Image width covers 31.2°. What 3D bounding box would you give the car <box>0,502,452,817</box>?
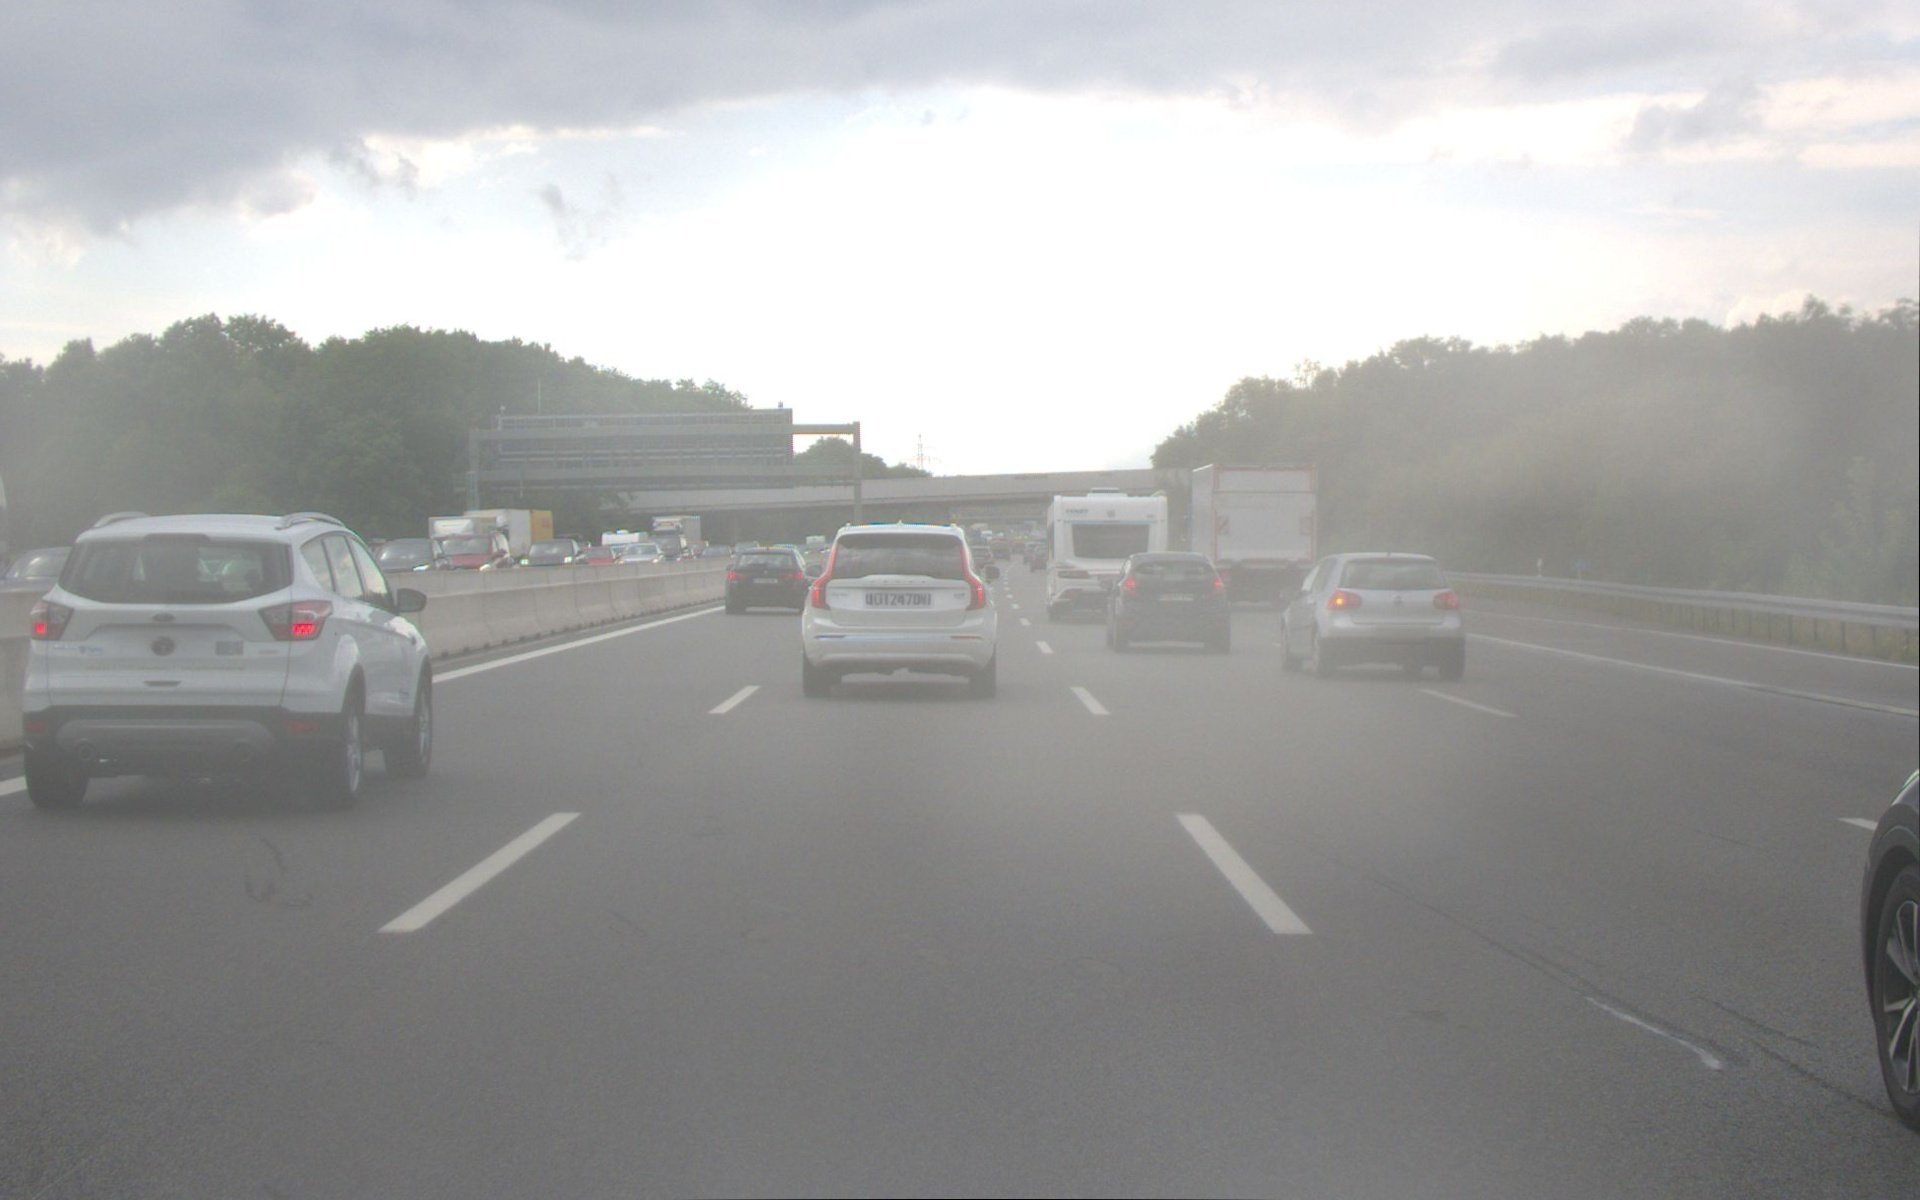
[{"bbox_3d":[-4.298,0.264,20.860,1.815,1.684,4.852,0,1,-1],"label":"car"}]

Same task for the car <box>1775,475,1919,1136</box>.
[{"bbox_3d":[3.244,0.520,7.477,1.781,1.607,4.598,0,1,-1],"label":"car"}]

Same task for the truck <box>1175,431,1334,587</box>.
[{"bbox_3d":[7.317,-2.242,86.676,3.133,3.697,9.848,0,1,0],"label":"truck"}]

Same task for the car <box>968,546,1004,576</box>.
[{"bbox_3d":[1.483,-2.244,197.925,1.881,1.680,4.000,0,1,-2],"label":"car"}]

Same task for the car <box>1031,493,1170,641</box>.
[{"bbox_3d":[2.832,-0.710,71.104,2.567,2.885,7.534,0,1,0],"label":"car"}]

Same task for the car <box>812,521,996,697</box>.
[{"bbox_3d":[-0.585,0.049,35.649,1.781,1.710,4.353,0,1,-1],"label":"car"}]

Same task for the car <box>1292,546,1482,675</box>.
[{"bbox_3d":[5.098,0.089,41.474,1.795,1.472,4.038,0,1,0],"label":"car"}]

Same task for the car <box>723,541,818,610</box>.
[{"bbox_3d":[-4.182,-0.570,76.586,1.781,1.476,4.353,0,1,1],"label":"car"}]

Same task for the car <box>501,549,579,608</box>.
[{"bbox_3d":[-13.947,-0.737,114.422,1.993,1.897,4.503,0,1,1],"label":"car"}]

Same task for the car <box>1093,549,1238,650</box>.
[{"bbox_3d":[2.997,-0.039,50.893,1.885,1.402,4.282,0,1,0],"label":"car"}]

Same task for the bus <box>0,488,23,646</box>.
[{"bbox_3d":[-21.925,-0.621,68.369,2.687,3.373,13.999,0,1,0],"label":"bus"}]
